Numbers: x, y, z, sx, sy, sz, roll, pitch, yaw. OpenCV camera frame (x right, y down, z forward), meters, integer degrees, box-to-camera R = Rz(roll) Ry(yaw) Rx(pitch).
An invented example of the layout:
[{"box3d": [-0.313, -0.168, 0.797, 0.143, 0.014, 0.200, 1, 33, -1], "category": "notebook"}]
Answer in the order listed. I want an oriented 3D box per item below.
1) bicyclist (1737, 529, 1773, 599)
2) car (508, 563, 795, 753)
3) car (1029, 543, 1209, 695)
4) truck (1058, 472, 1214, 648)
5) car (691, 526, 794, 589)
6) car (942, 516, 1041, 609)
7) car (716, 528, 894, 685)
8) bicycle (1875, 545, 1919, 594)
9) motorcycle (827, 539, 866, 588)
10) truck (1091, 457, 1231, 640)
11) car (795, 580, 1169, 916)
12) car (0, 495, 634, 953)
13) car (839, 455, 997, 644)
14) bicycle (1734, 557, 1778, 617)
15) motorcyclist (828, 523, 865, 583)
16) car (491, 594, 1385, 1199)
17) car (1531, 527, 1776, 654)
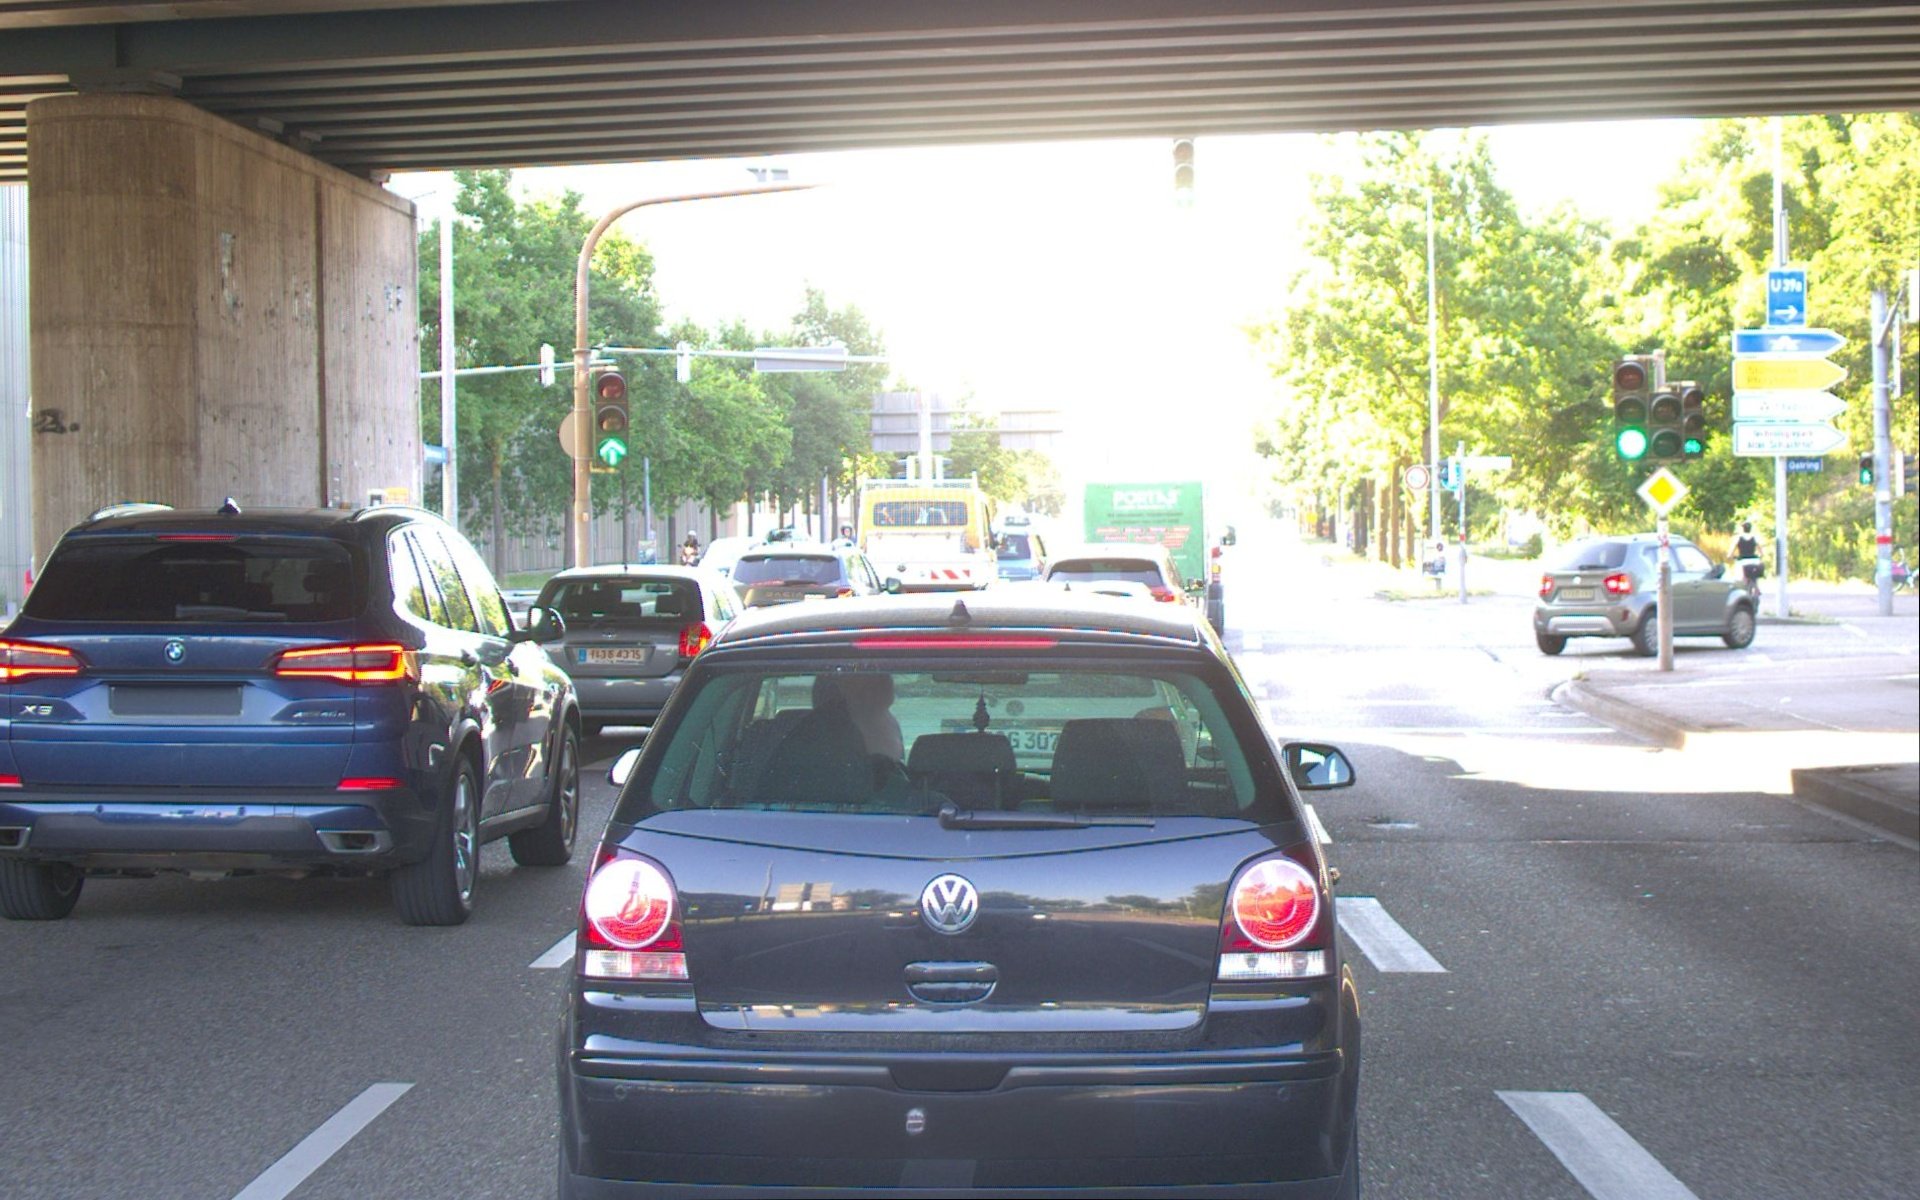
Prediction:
[{"box3d": [15.125, -0.676, 65.410, 0.544, 1.311, 0.835, 1, 0, 5], "category": "bicyclist"}, {"box3d": [-2.422, 0.423, 27.783, 1.617, 1.405, 3.682, 1, 0, 6], "category": "car"}, {"box3d": [1.805, 0.185, 37.932, 1.796, 1.553, 3.999, 1, 0, 5], "category": "car"}, {"box3d": [2.488, -0.550, 47.849, 1.996, 2.307, 3.999, 1, 0, 5], "category": "truck"}, {"box3d": [-5.388, -1.046, 85.693, 1.994, 1.470, 4.080, 1, 0, 4], "category": "car"}, {"box3d": [0.609, -0.693, 64.412, 1.617, 1.673, 3.682, 1, 0, 4], "category": "car"}, {"box3d": [-1.712, 0.057, 39.005, 1.617, 1.673, 3.682, 1, 0, 4], "category": "car"}, {"box3d": [20.117, -0.644, 72.218, 1.664, 0.988, 0.577, -1, 3, 22], "category": "bicycle"}, {"box3d": [-2.653, -0.862, 80.470, 0.840, 1.072, 2.401, -3, 1, -2], "category": "motorcycle"}, {"box3d": [3.114, -0.773, 52.648, 1.996, 2.659, 3.999, 1, 0, 5], "category": "truck"}, {"box3d": [0.079, 0.623, 16.777, 1.578, 1.408, 4.062, 1, 0, 0], "category": "car"}, {"box3d": [-2.873, 0.454, 15.476, 1.994, 1.728, 4.532, 1, 0, 5], "category": "car"}, {"box3d": [-0.575, -0.717, 49.770, 2.136, 2.567, 5.087, 1, 0, 0], "category": "car"}, {"box3d": [15.110, -0.246, 65.283, 0.565, 1.108, 1.621, 1, 0, 5], "category": "bicycle"}, {"box3d": [-2.663, -1.110, 80.532, 0.797, 1.345, 1.275, -2, 2, -2], "category": "motorcyclist"}, {"box3d": [-0.028, 0.711, 8.123, 1.616, 1.405, 3.683, 1, 0, 1], "category": "car"}, {"box3d": [9.417, -0.130, 46.481, 1.740, 1.625, 4.054, 1, 0, 35], "category": "car"}]
